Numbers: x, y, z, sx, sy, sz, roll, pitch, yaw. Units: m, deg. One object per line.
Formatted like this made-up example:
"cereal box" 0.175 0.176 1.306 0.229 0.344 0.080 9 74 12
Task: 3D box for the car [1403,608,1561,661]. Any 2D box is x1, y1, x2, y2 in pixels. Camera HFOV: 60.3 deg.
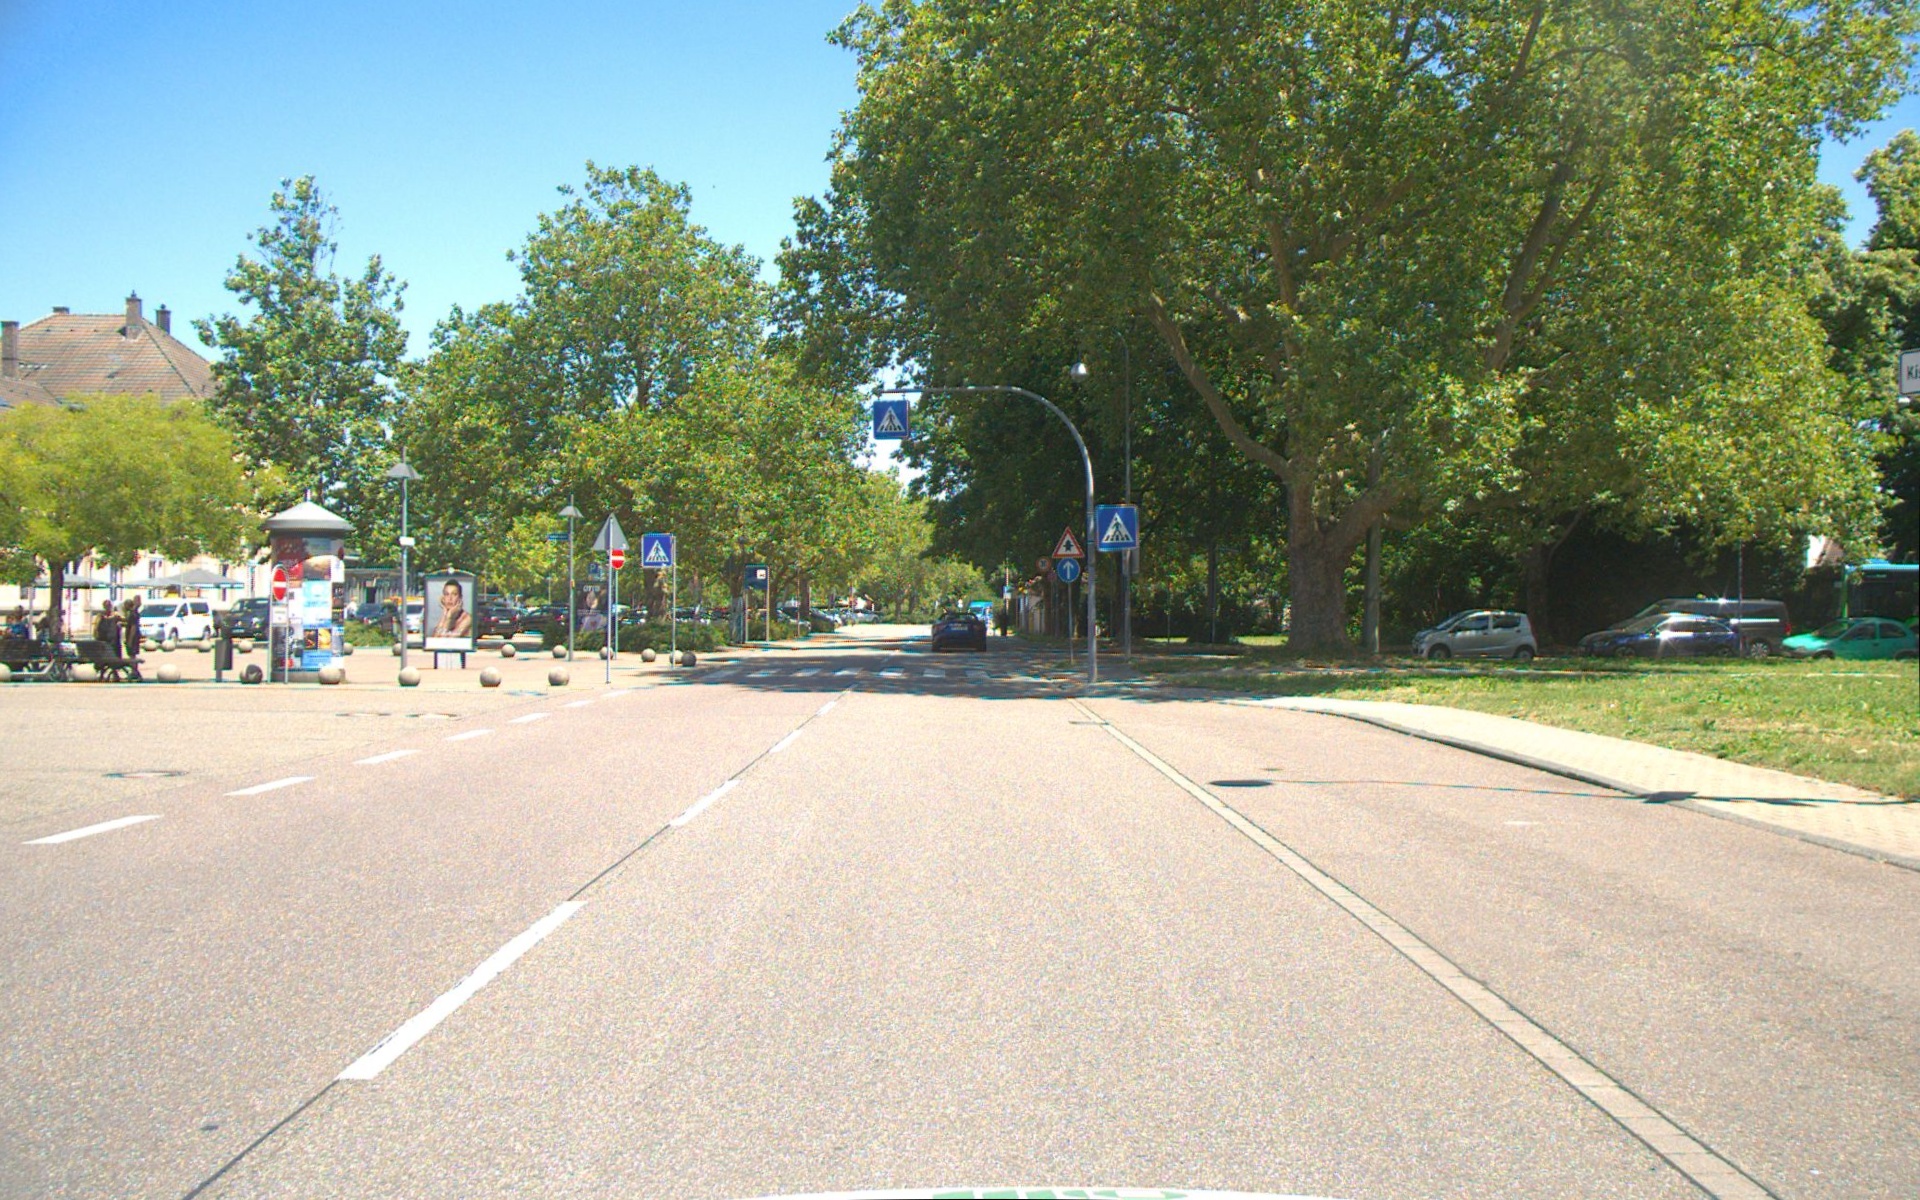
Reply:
"car" 15.200 0.999 48.350 4.020 1.492 2.000 0 0 1

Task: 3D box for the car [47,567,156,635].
"car" -33.367 0.042 64.462 1.684 2.511 5.003 1 -1 -2

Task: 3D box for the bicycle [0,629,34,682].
"bicycle" -19.542 1.103 33.022 1.769 1.049 0.485 1 -1 -24

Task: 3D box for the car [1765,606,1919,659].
"car" 25.785 0.944 48.077 3.801 1.479 2.000 1 -1 1

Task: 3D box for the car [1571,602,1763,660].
"car" 20.426 0.879 47.966 4.723 1.636 2.001 0 0 3

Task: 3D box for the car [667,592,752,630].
"car" -12.520 0.554 82.496 3.926 1.813 1.989 0 -2 -19

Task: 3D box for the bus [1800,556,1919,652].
"bus" 33.985 0.137 53.884 12.126 3.030 2.268 0 -1 -1

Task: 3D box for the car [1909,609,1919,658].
"car" 30.302 0.989 48.113 4.248 1.441 2.000 1 -1 0

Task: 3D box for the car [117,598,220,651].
"car" -30.489 0.919 63.861 1.715 1.951 4.774 0 0 -1

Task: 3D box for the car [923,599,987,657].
"car" -0.183 0.940 56.814 2.082 1.881 4.047 1 -1 -1

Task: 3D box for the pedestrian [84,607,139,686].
"pedestrian" -18.414 1.007 35.905 0.744 1.688 0.721 -1 -2 16

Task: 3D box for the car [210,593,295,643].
"car" -30.296 0.739 70.961 1.953 2.049 3.999 0 0 -1
